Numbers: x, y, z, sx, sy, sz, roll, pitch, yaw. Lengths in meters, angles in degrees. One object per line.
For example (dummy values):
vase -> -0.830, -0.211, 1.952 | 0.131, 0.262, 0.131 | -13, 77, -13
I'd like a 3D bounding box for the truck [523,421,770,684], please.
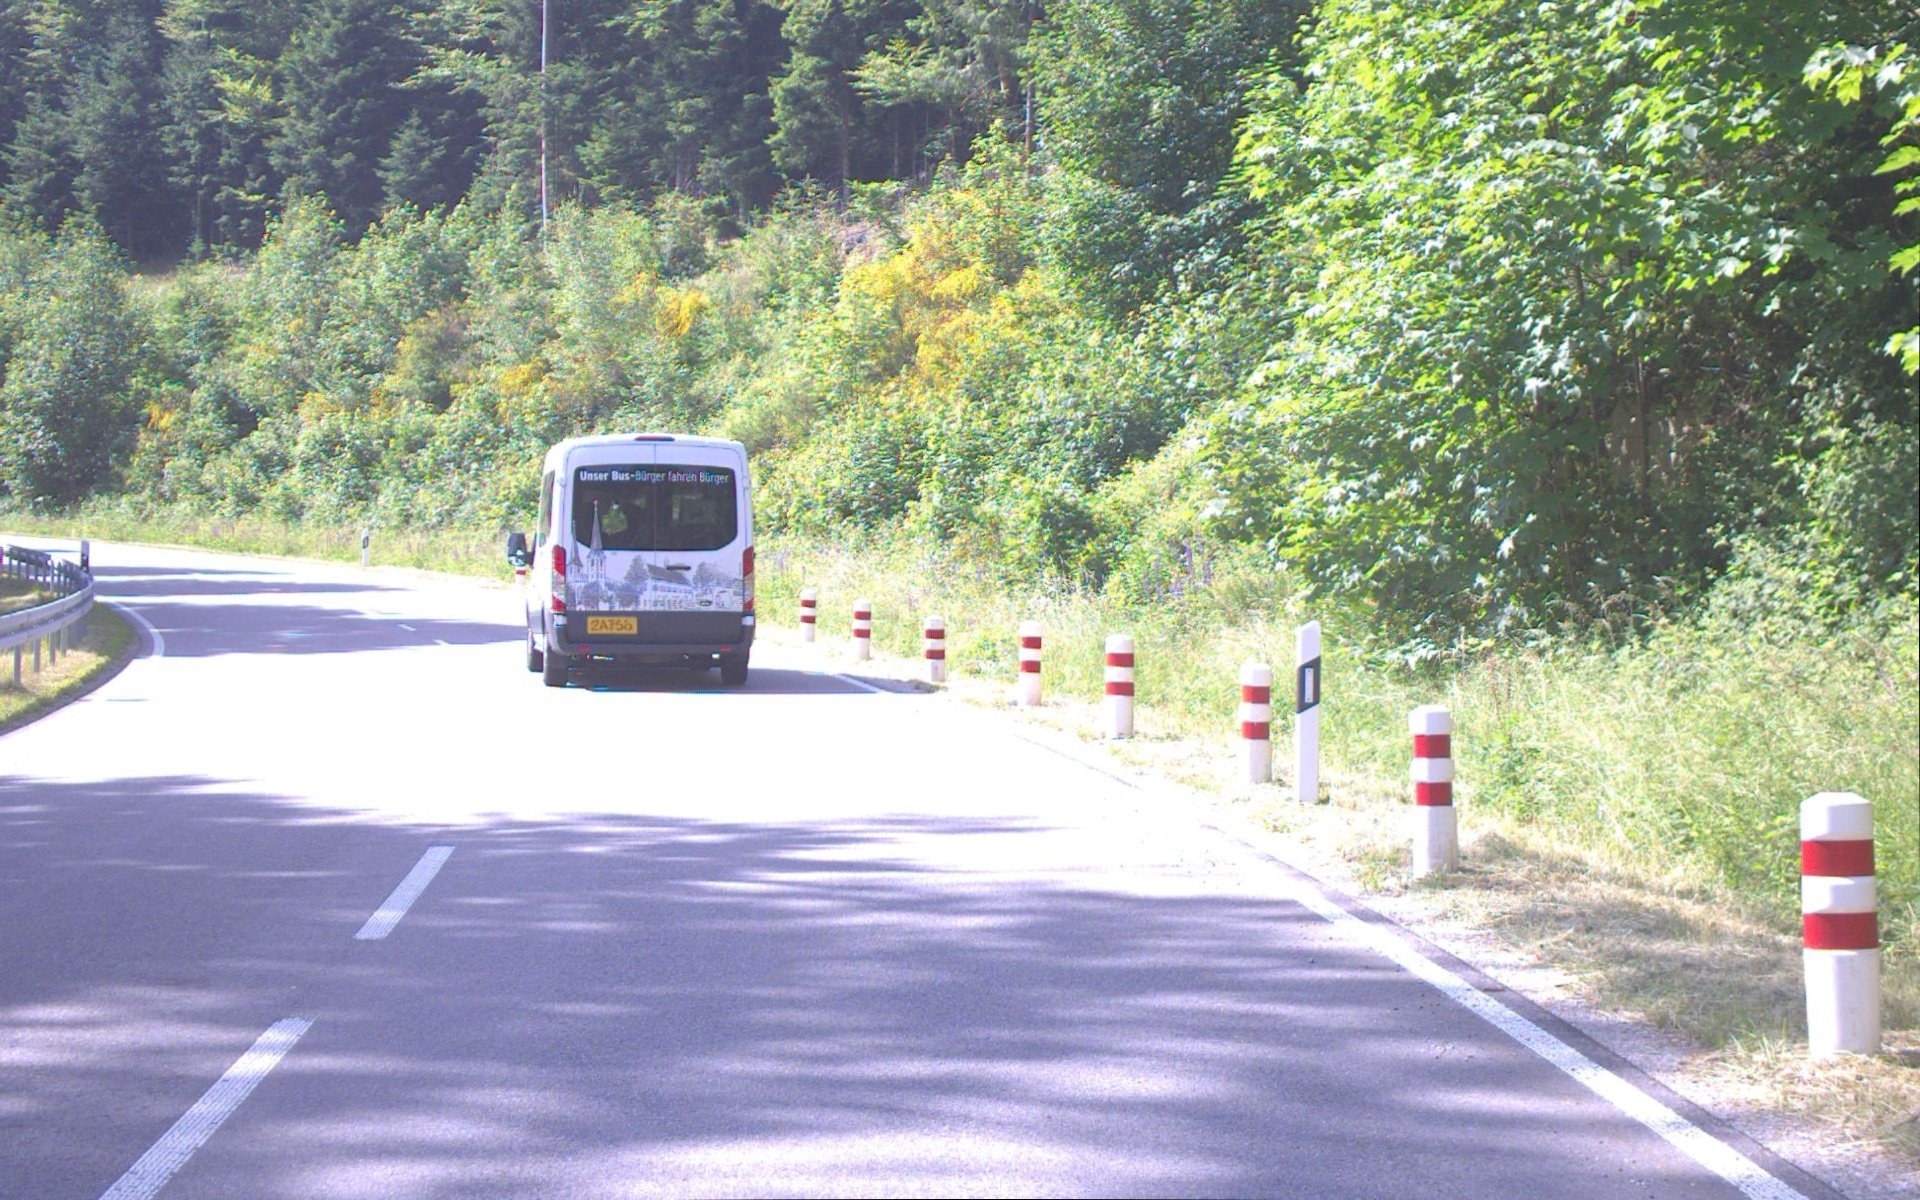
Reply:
truck -> -3.316, -0.528, 35.386 | 2.115, 2.489, 5.361 | 0, 2, -10
